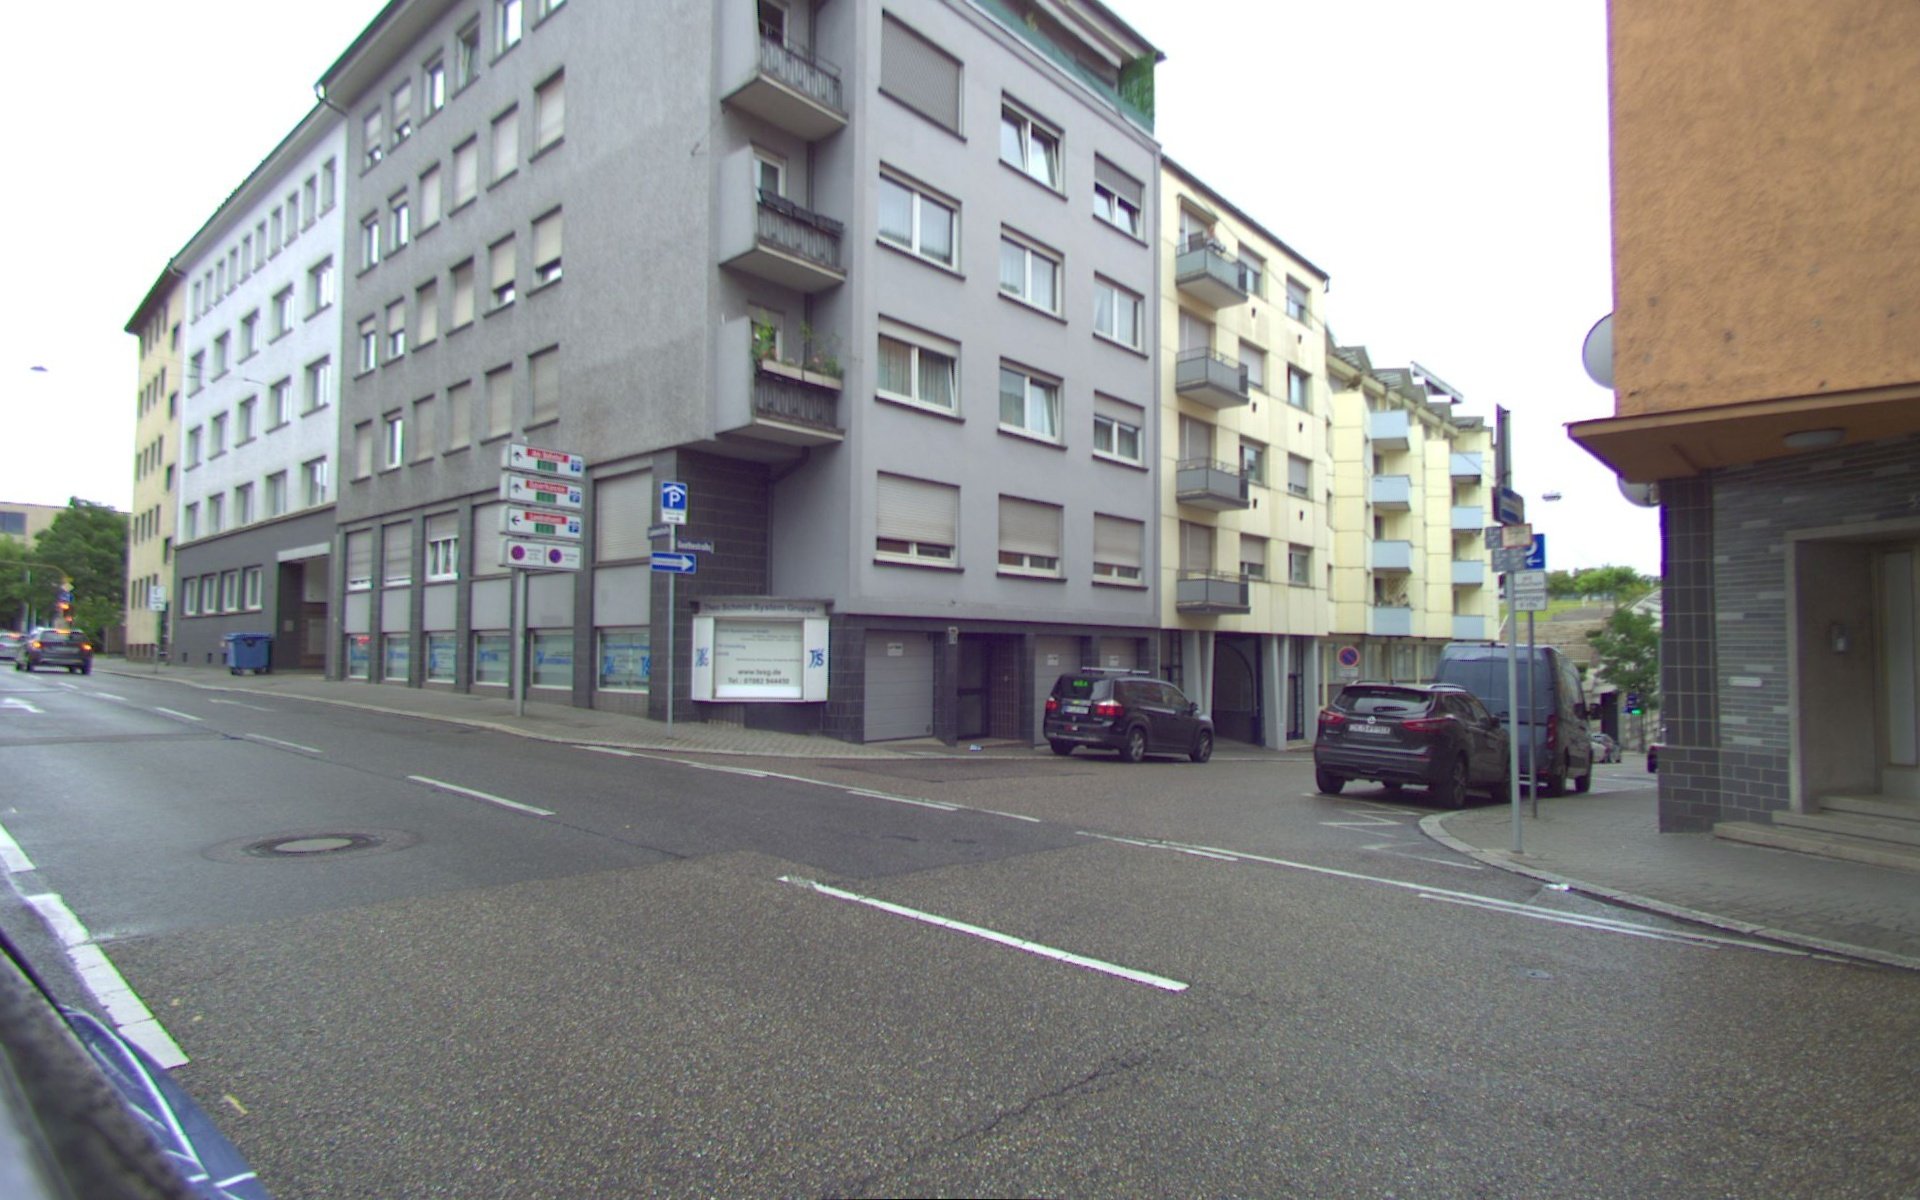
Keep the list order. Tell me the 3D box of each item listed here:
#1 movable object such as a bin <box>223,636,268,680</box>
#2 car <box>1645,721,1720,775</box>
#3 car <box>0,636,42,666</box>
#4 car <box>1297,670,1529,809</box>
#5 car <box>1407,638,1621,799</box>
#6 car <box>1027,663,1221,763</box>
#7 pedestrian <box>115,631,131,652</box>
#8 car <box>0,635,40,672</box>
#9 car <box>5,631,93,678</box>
[{"bbox_3d":[-22.891,1.840,32.428,1.096,1.343,0.933,-1,0,41],"label":"movable object such as a bin"},{"bbox_3d":[25.841,5.305,36.148,1.817,1.688,3.998,-1,-8,41],"label":"car"},{"bbox_3d":[-56.877,3.064,60.884,3.998,1.695,1.972,-1,-4,41],"label":"car"},{"bbox_3d":[6.466,1.949,14.184,1.842,1.589,4.098,-1,-8,41],"label":"car"},{"bbox_3d":[10.438,2.198,18.775,2.249,2.481,5.975,-1,-7,41],"label":"car"},{"bbox_3d":[3.333,2.270,19.931,1.794,1.700,4.186,-1,-8,41],"label":"car"},{"bbox_3d":[-46.276,2.297,55.951,0.407,1.158,0.575,-2,-6,42],"label":"pedestrian"},{"bbox_3d":[-43.998,2.451,46.637,4.371,1.602,1.858,-1,-3,41],"label":"car"},{"bbox_3d":[-32.145,1.906,35.683,4.157,1.519,1.685,-1,-5,41],"label":"car"}]
